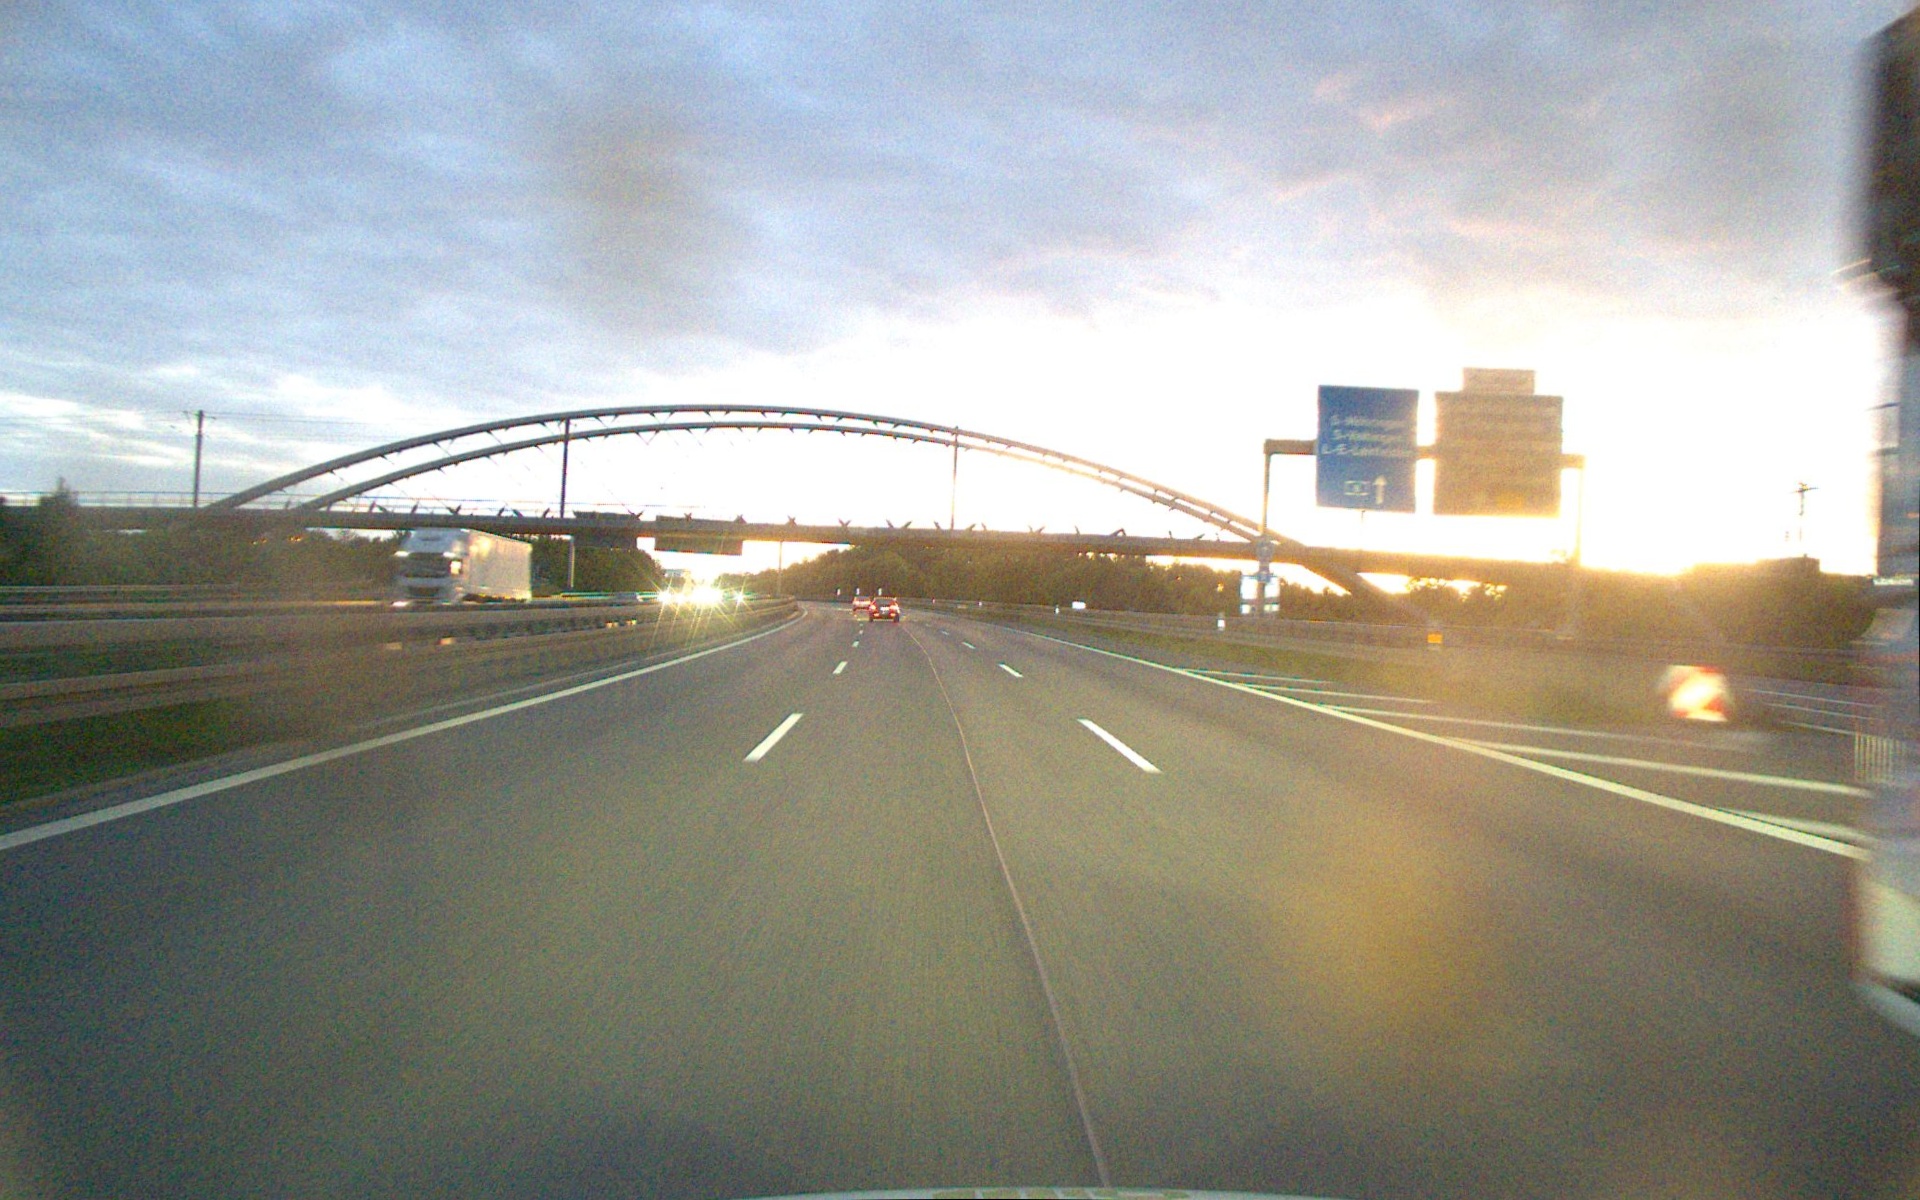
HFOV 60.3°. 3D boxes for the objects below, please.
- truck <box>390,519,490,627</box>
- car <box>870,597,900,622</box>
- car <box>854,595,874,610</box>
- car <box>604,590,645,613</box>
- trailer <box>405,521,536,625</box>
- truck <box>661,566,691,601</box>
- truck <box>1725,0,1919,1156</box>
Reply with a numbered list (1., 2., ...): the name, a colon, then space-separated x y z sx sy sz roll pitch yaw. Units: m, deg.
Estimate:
1. truck: -23.200 -1.163 74.101 2.768 4.586 6.240 1 0 -3
2. car: -4.589 0.578 101.016 1.656 1.426 3.405 1 -1 -5
3. car: -9.444 0.245 162.705 1.654 1.426 3.409 0 -2 3
4. car: -21.878 0.083 107.981 1.954 1.428 4.327 1 0 -3
5. trailer: -23.627 -1.208 80.821 2.768 4.586 14.618 1 0 -3
6. truck: -34.553 -1.988 201.527 2.770 4.119 12.198 1 0 -6
7. truck: 4.002 -0.545 0.345 2.636 4.142 10.518 1 0 -1
